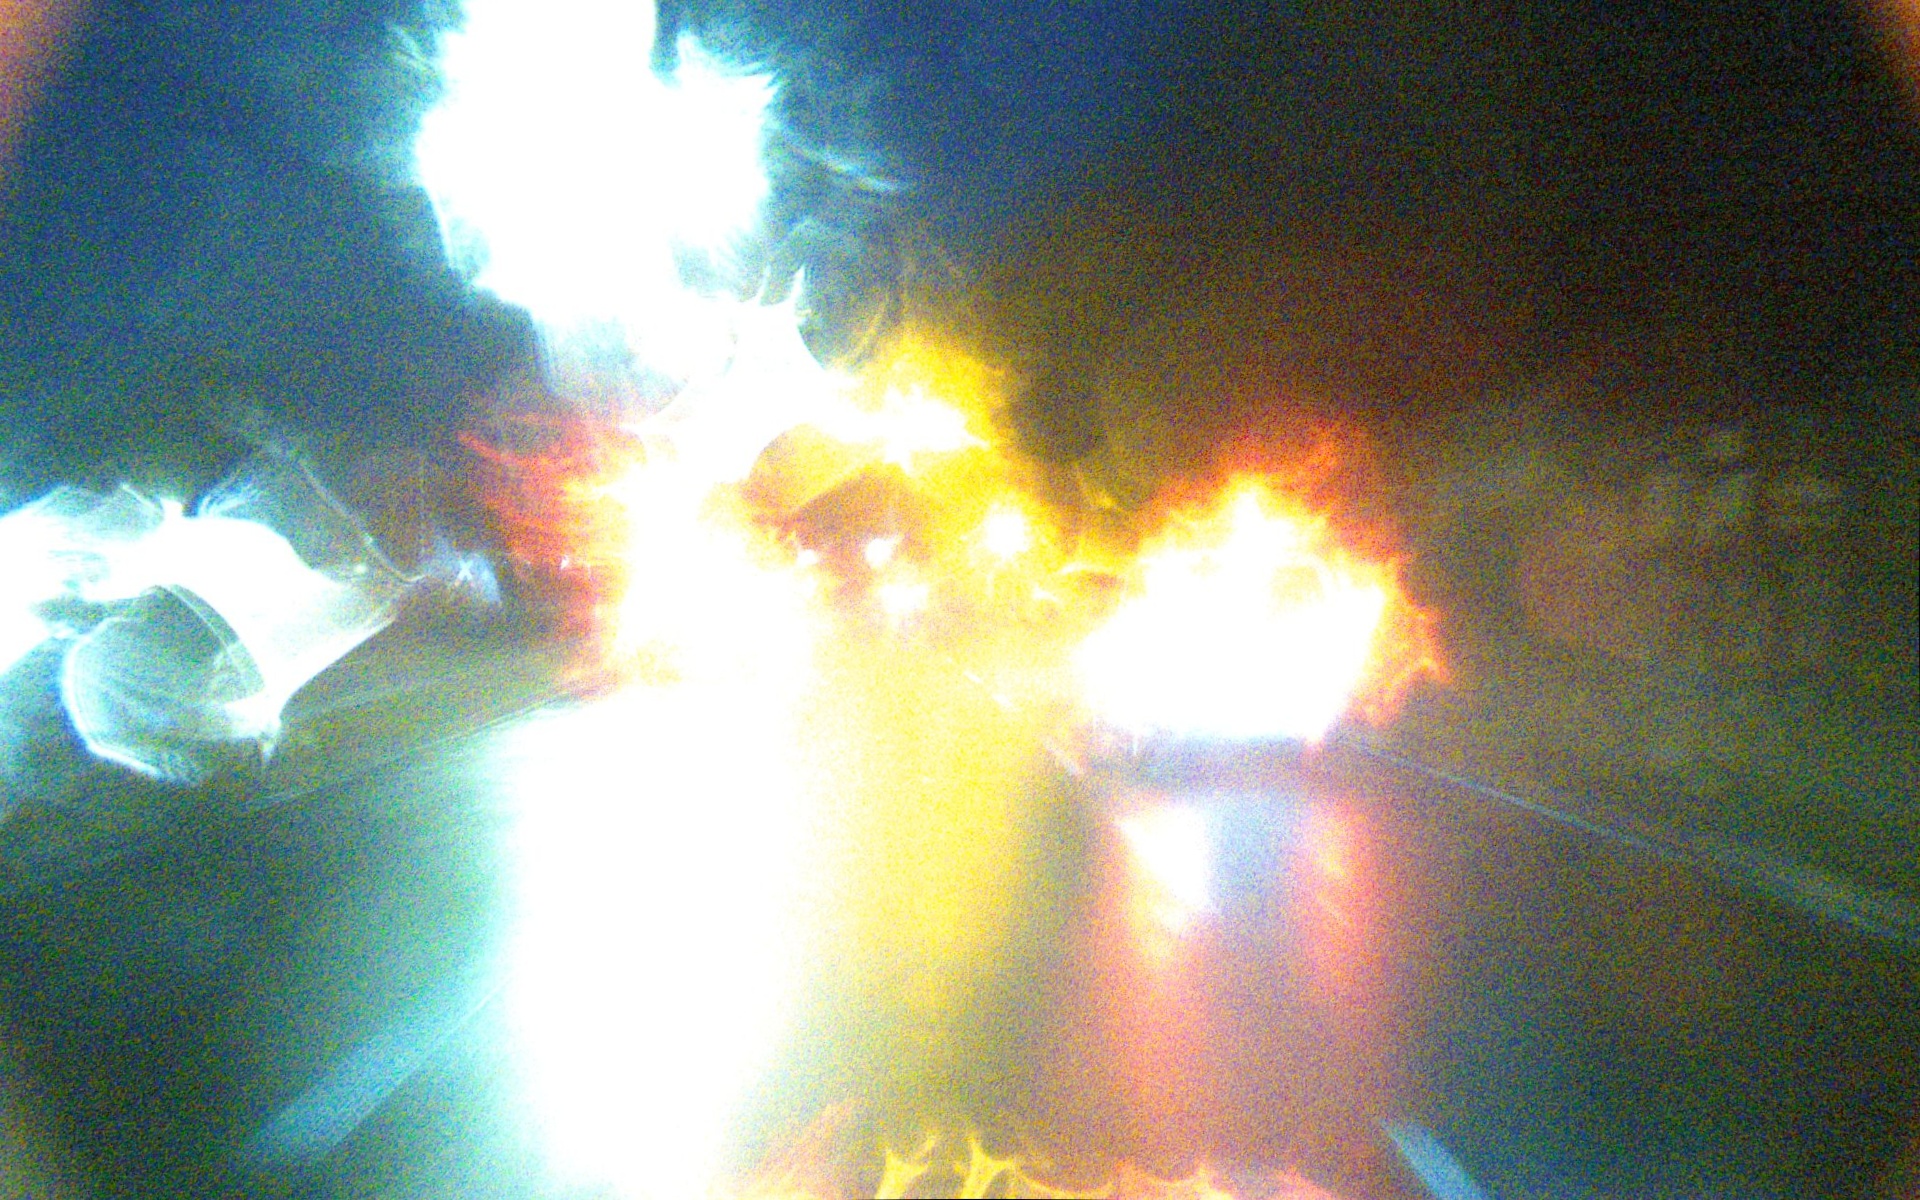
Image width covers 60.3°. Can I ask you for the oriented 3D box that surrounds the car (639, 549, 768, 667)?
[{"bbox_3d":[-4.208,0.095,27.691,1.748,1.813,4.433,0,1,-4],"label":"car"}]

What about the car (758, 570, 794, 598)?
[{"bbox_3d":[-12.681,-1.076,114.066,1.953,1.746,3.999,4,-1,-1],"label":"car"}]

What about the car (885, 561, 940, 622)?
[{"bbox_3d":[-1.712,-0.325,58.485,1.756,2.057,4.576,0,1,-4],"label":"car"}]

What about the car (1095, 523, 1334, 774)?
[{"bbox_3d":[2.294,0.399,16.004,1.754,2.057,4.581,1,0,2],"label":"car"}]

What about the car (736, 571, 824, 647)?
[{"bbox_3d":[-3.879,0.157,36.167,1.749,1.537,4.432,-1,1,-4],"label":"car"}]
